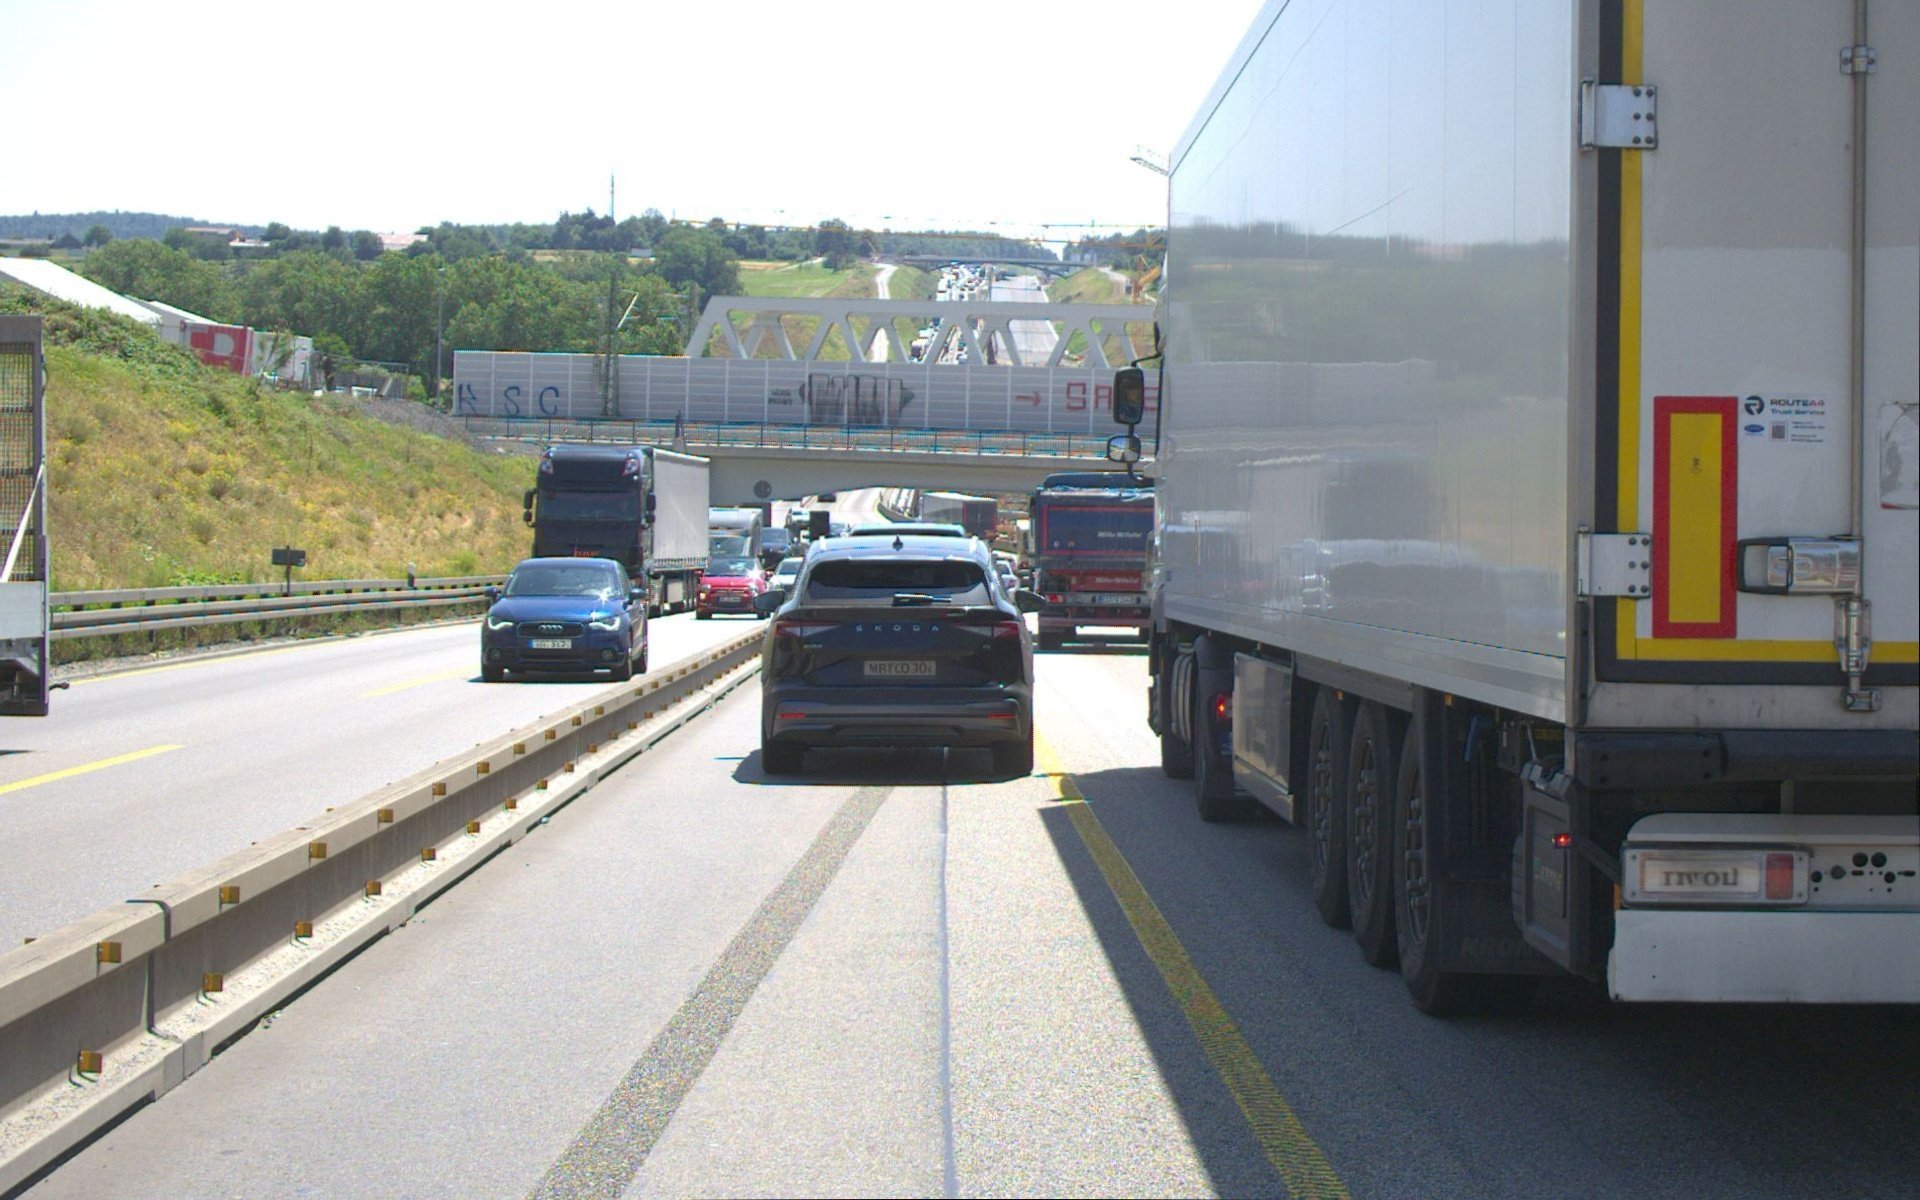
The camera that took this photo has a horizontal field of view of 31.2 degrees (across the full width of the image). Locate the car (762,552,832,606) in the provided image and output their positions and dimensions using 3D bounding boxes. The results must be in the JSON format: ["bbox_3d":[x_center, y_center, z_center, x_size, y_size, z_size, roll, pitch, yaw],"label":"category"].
[{"bbox_3d":[-4.574,-0.615,96.886,1.826,1.481,4.196,0,1,-1],"label":"car"}]

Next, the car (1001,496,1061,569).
[{"bbox_3d":[2.282,-2.181,111.286,1.661,2.262,3.797,2,1,-2],"label":"car"}]

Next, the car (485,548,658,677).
[{"bbox_3d":[-4.496,0.111,40.228,1.684,1.425,3.850,0,1,-2],"label":"car"}]

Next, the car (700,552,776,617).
[{"bbox_3d":[-5.209,-0.389,80.859,1.590,1.481,3.295,0,1,0],"label":"car"}]

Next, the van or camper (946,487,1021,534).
[{"bbox_3d":[1.694,-6.661,256.169,3.942,3.408,8.409,1,1,-11],"label":"van or camper"}]

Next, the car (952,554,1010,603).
[{"bbox_3d":[0.595,-0.619,98.778,1.491,1.326,3.244,2,1,-2],"label":"car"}]

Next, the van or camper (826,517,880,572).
[{"bbox_3d":[-4.981,-2.583,160.331,2.216,2.472,4.750,1,0,1],"label":"van or camper"}]

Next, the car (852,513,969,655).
[{"bbox_3d":[-0.623,-0.227,45.064,1.475,1.789,3.298,0,1,0],"label":"car"}]

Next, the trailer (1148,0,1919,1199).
[{"bbox_3d":[2.673,-0.737,14.925,2.801,4.044,14.117,1,1,0],"label":"trailer"}]

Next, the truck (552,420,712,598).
[{"bbox_3d":[-8.096,-2.207,86.629,2.767,4.074,13.807,1,1,0],"label":"truck"}]

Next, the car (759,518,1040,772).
[{"bbox_3d":[-0.400,0.251,23.703,1.800,1.615,3.298,0,2,0],"label":"car"}]

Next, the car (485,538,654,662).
[{"bbox_3d":[-4.579,-0.027,40.686,1.689,1.398,3.687,0,1,-2],"label":"car"}]

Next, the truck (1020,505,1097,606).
[{"bbox_3d":[4.304,-1.994,152.445,3.176,4.303,9.257,1,1,1],"label":"truck"}]

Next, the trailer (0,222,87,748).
[{"bbox_3d":[-7.891,-0.762,21.589,2.587,3.624,9.079,0,1,-1],"label":"trailer"}]

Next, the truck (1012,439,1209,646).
[{"bbox_3d":[2.390,-0.984,58.838,2.814,3.124,12.838,1,1,0],"label":"truck"}]

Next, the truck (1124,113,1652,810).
[{"bbox_3d":[2.619,-0.841,22.573,2.776,4.044,4.905,1,1,0],"label":"truck"}]

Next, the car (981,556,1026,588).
[{"bbox_3d":[1.691,-1.091,134.215,1.538,1.202,3.311,0,1,-3],"label":"car"}]

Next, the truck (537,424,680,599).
[{"bbox_3d":[-8.077,-2.023,79.414,2.767,3.871,4.964,1,1,0],"label":"truck"}]

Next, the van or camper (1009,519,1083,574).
[{"bbox_3d":[5.579,-3.474,221.919,3.944,3.408,8.404,1,1,7],"label":"van or camper"}]

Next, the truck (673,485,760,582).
[{"bbox_3d":[-7.481,-2.032,106.206,2.268,2.872,5.851,1,1,0],"label":"truck"}]
